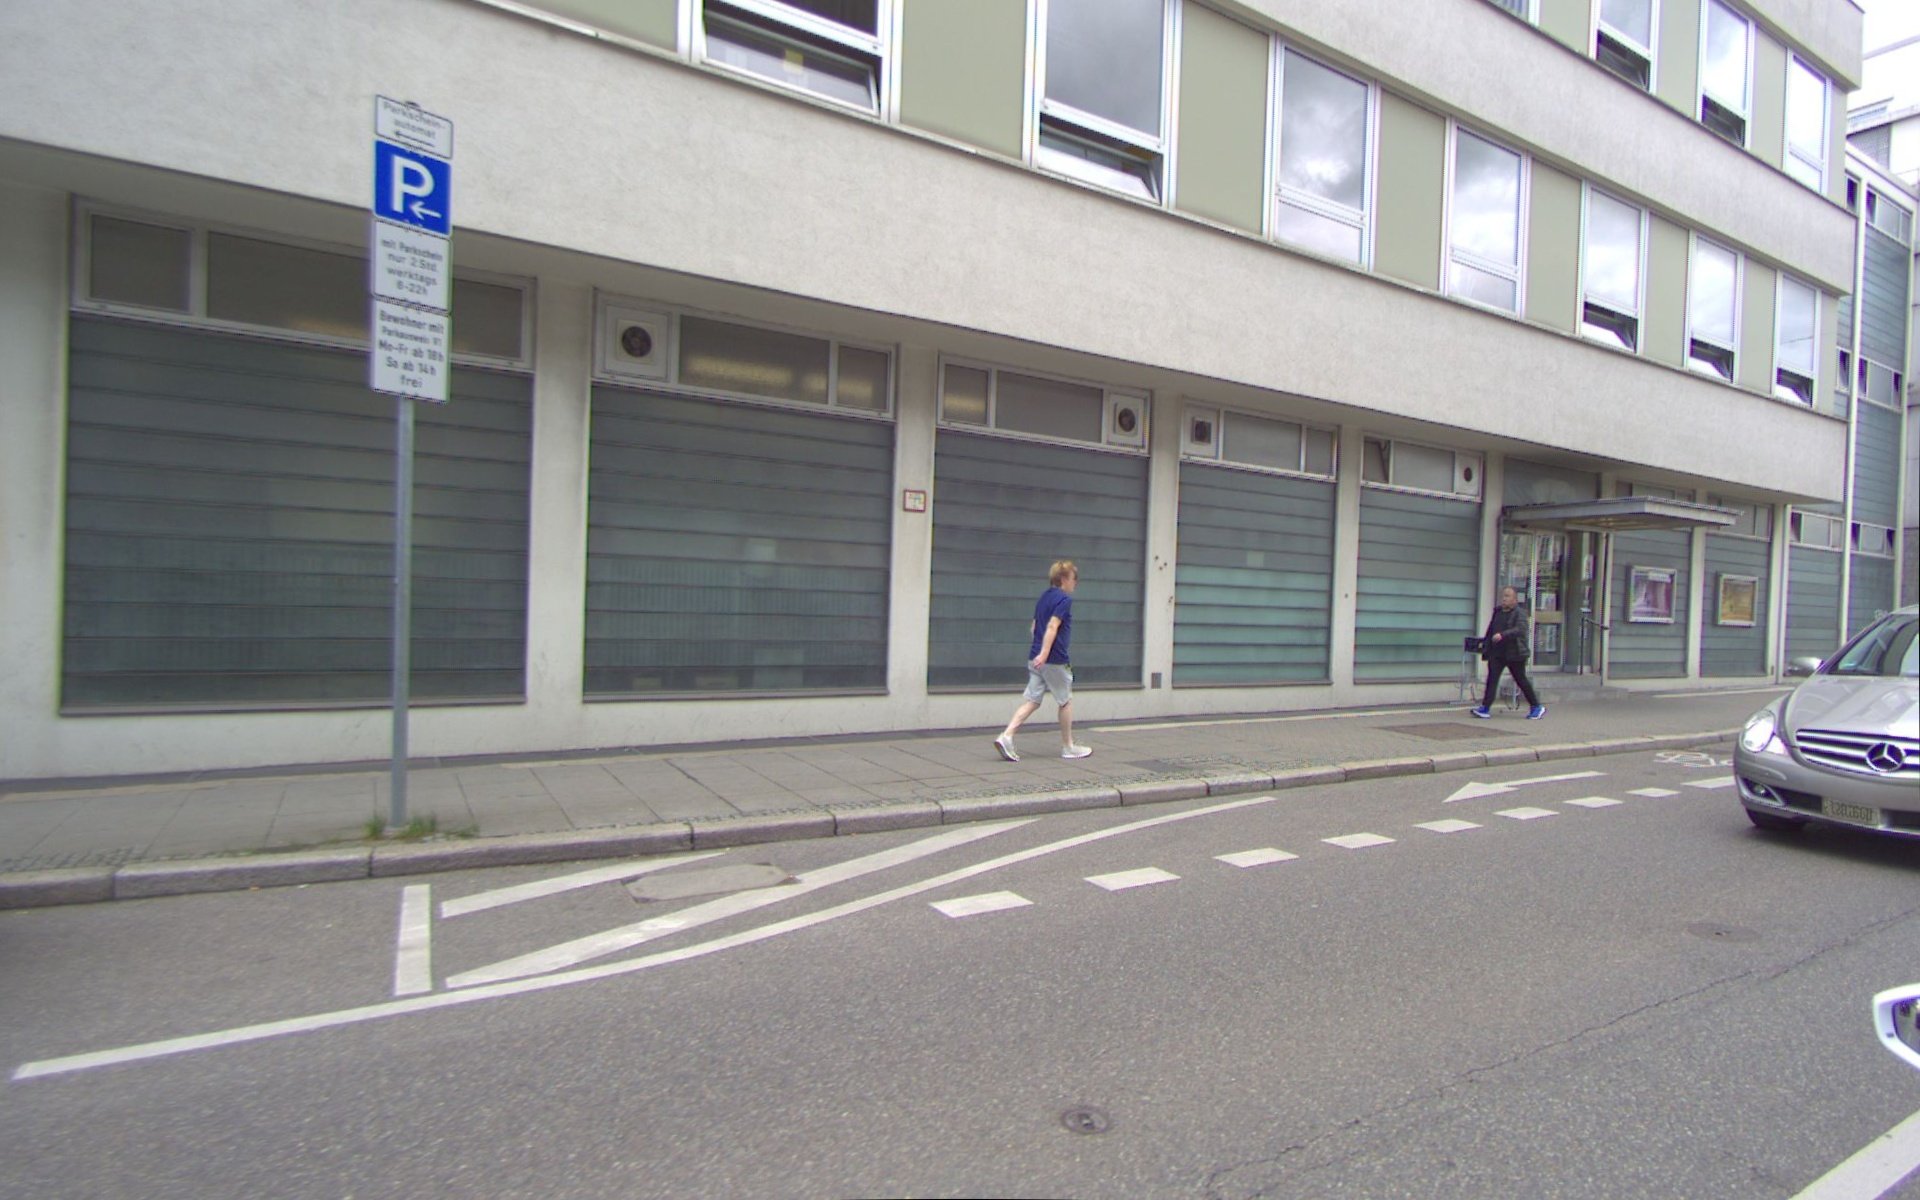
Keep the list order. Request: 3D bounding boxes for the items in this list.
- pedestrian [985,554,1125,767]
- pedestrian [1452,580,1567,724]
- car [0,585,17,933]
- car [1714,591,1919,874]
[{"bbox_3d":[0.826,0.500,8.708,1.044,1.741,0.586,1,0,-33],"label":"pedestrian"},{"bbox_3d":[7.080,0.643,12.957,1.020,1.741,0.856,1,2,-33],"label":"pedestrian"},{"bbox_3d":[-5.625,0.615,2.471,4.497,1.453,1.663,1,-1,-29],"label":"car"},{"bbox_3d":[7.576,0.819,7.220,4.712,1.654,1.767,1,0,-30],"label":"car"}]
